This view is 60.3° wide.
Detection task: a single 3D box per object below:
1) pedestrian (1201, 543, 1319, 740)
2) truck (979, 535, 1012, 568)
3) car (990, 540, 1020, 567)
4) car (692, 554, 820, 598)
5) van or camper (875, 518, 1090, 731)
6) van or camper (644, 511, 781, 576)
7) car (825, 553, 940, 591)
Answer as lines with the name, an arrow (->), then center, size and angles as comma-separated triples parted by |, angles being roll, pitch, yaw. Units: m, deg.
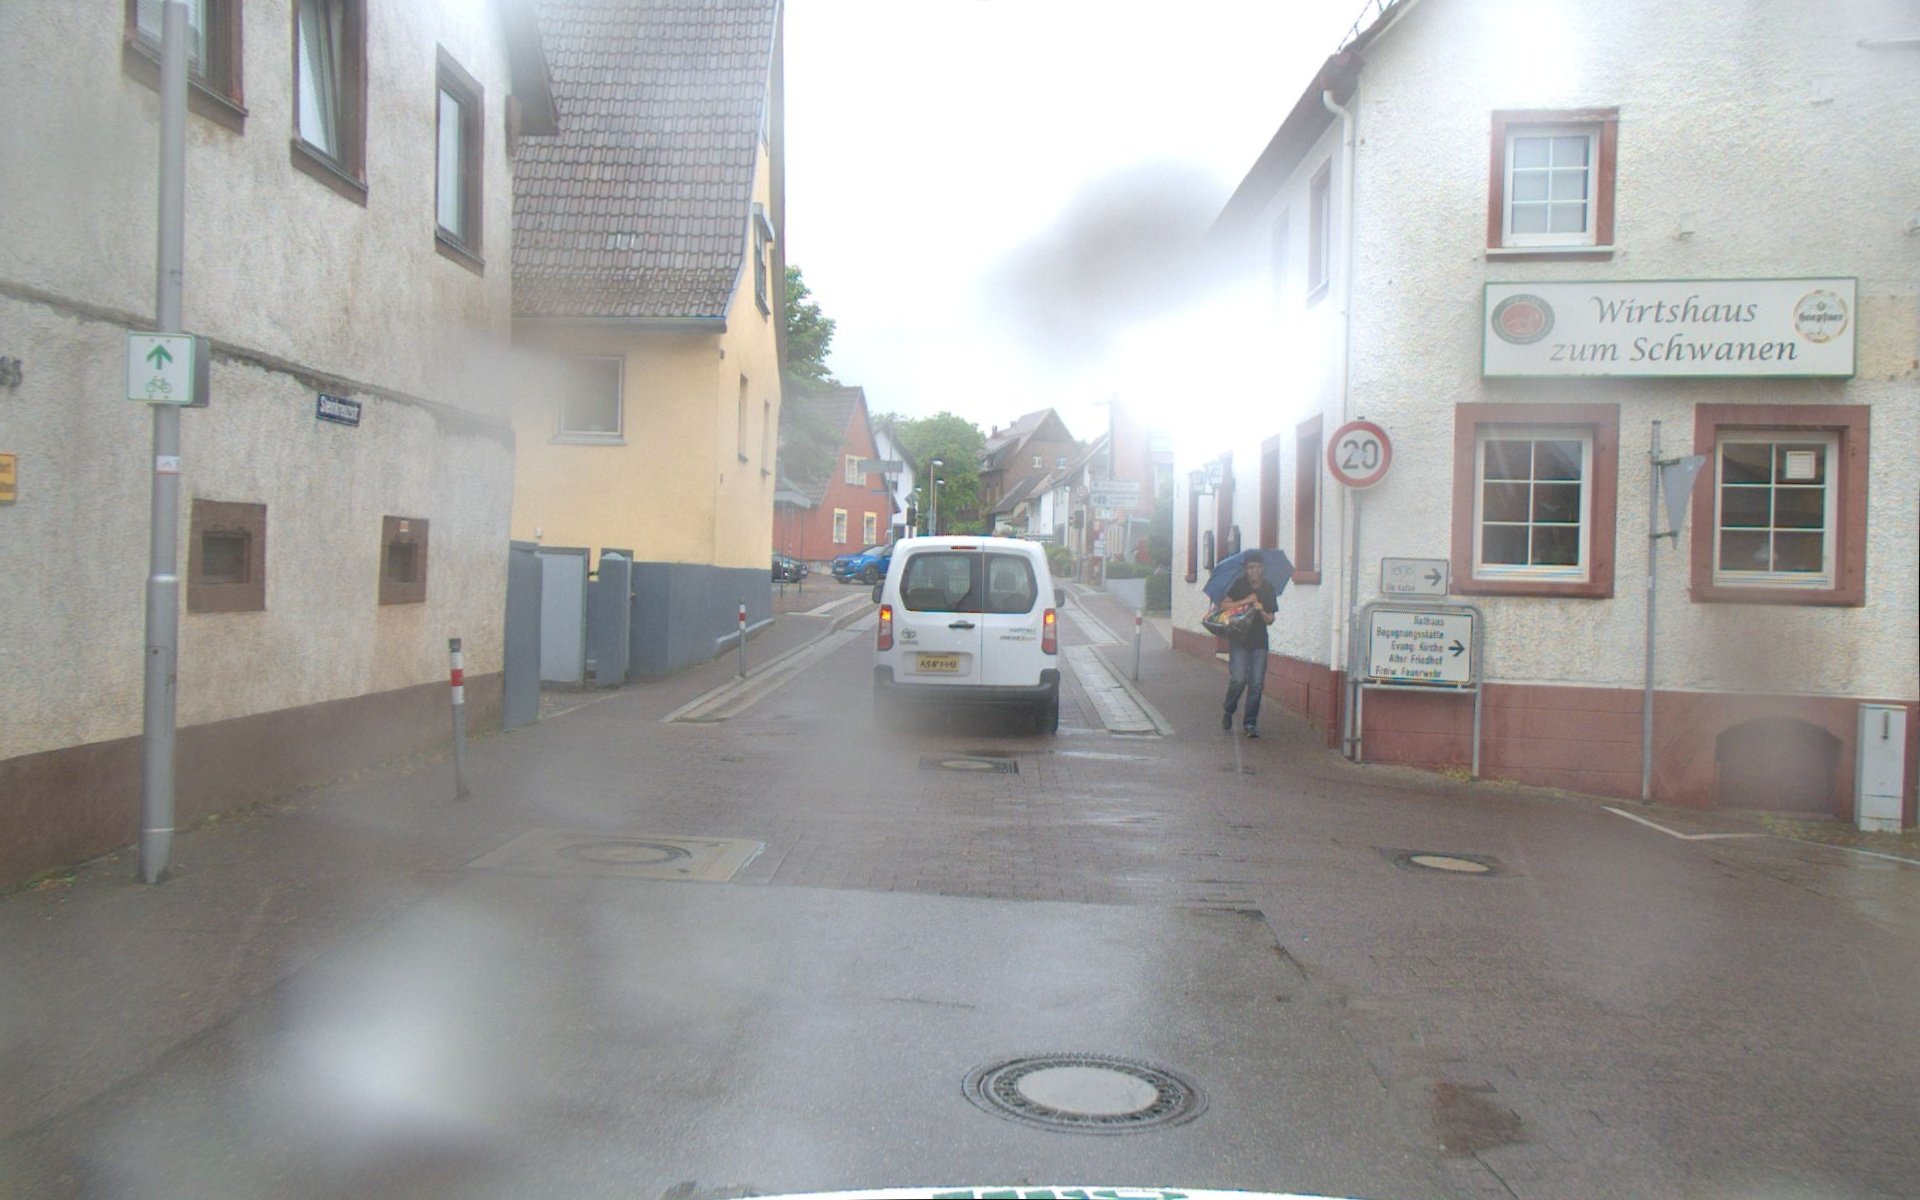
pedestrian -> 2.800, 0.363, 15.532 | 0.973, 1.766, 0.812 | 1, 3, 5
truck -> 2.748, -3.753, 129.219 | 2.303, 2.468, 4.949 | 1, 1, -1
car -> 3.135, -3.232, 115.502 | 1.953, 1.777, 4.000 | 1, 1, -1
car -> -7.393, -0.861, 59.985 | 4.208, 1.503, 1.851 | 1, 1, 14
van or camper -> 0.158, 0.191, 16.849 | 1.904, 1.883, 3.999 | 1, 1, -1
van or camper -> -9.887, -2.277, 66.012 | 5.043, 2.477, 2.209 | 2, 3, 27
car -> -2.961, -1.063, 63.323 | 3.956, 1.397, 2.084 | 0, 0, -36
